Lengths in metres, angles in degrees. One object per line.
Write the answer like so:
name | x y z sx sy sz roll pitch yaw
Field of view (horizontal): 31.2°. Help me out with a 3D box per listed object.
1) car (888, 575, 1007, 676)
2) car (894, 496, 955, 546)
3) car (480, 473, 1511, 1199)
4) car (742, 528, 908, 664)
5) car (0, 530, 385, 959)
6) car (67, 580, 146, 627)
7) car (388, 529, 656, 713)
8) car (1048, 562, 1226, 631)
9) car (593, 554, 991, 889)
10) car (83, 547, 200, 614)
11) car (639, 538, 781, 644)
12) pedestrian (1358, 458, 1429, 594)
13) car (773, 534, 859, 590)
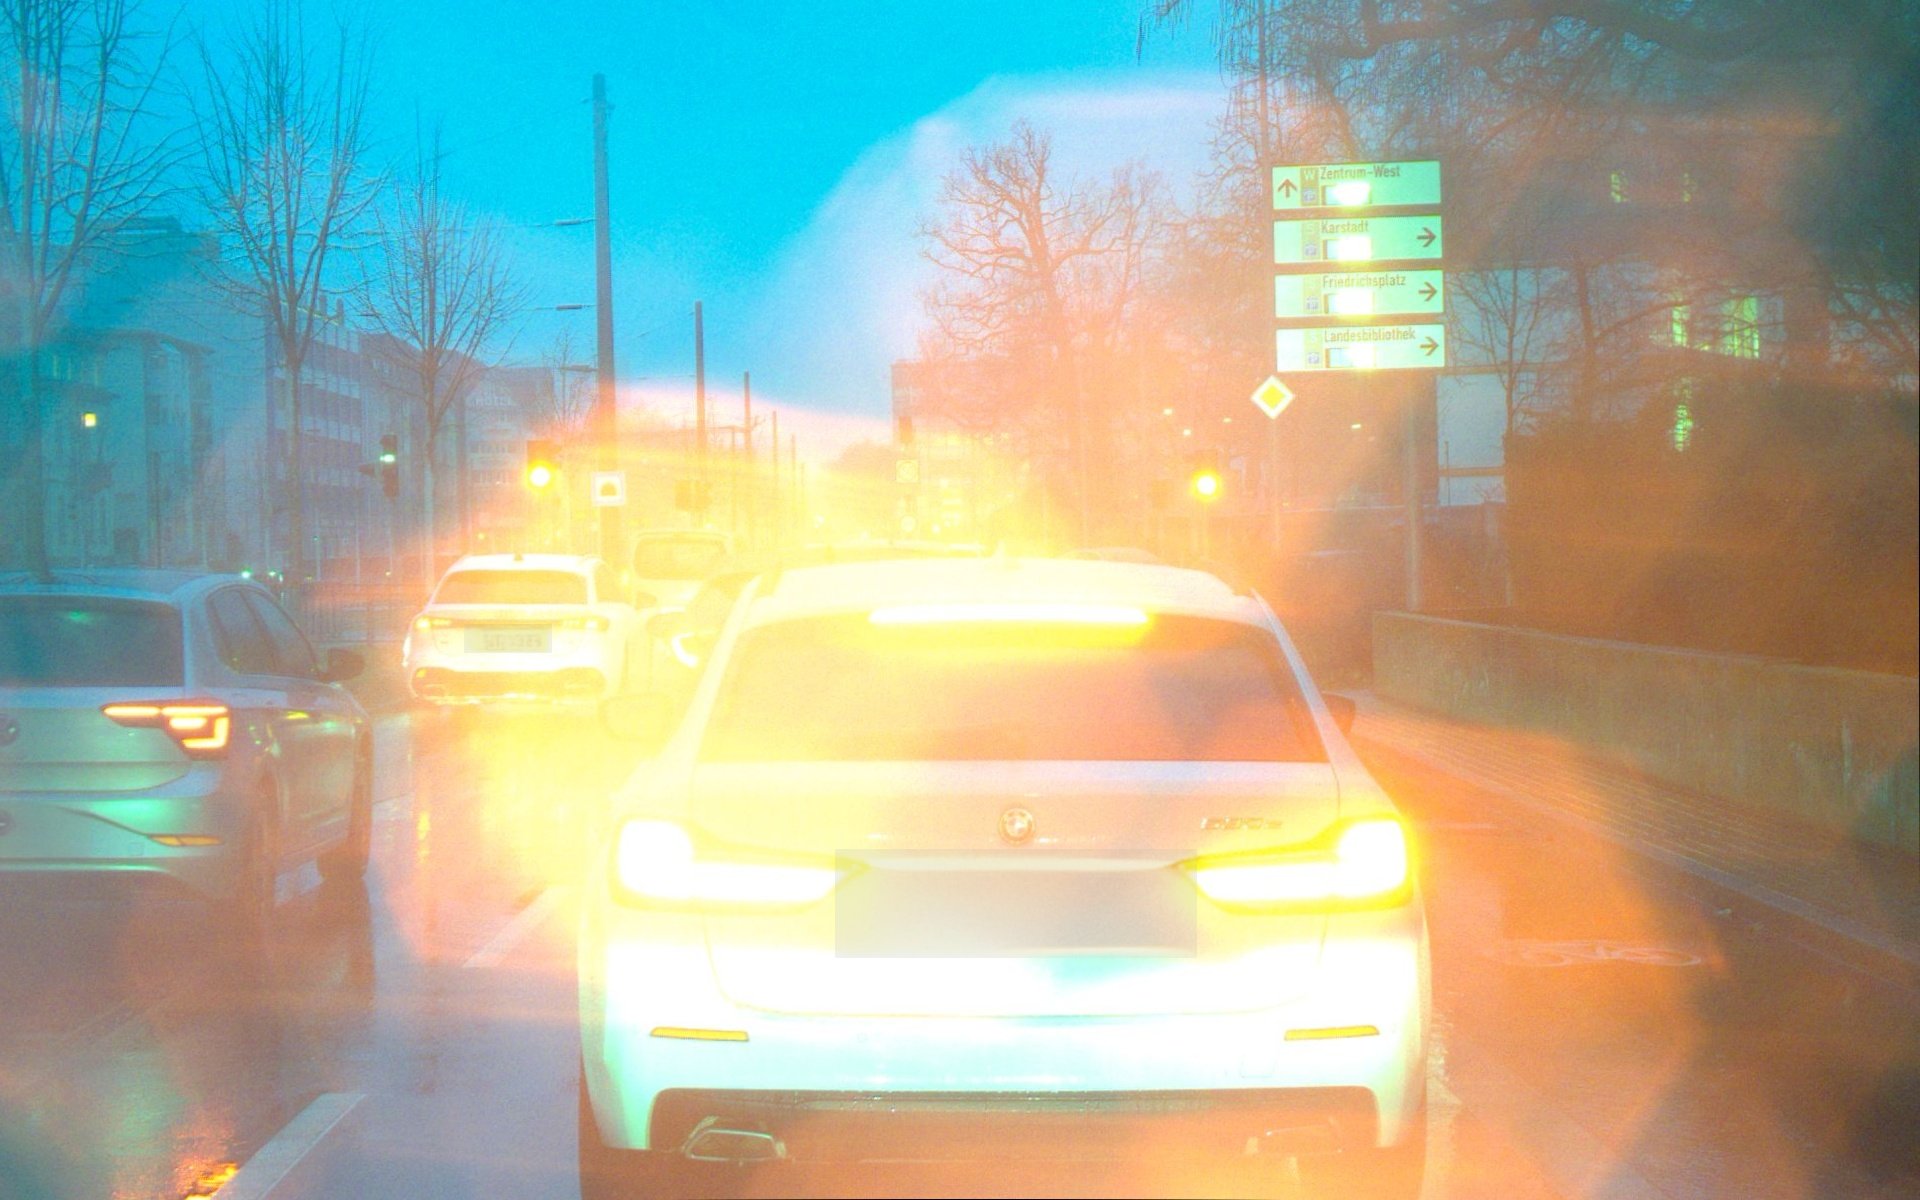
car | -0.200 0.362 52.930 1.737 1.415 3.703 -1 1 -1
car | -1.064 -2.337 101.790 1.737 1.415 4.146 -1 1 -1
car | 0.042 0.515 8.775 1.862 1.550 4.938 -1 1 -1
car | -1.477 -0.077 38.738 1.737 1.415 3.703 -1 1 -1
car | -3.499 0.478 14.233 1.693 1.528 4.001 0 1 -2
car | -24.568 0.080 99.030 1.690 1.273 4.149 -1 1 -7
car | -3.784 0.126 30.404 1.799 1.461 4.586 -1 1 -1
car | 3.783 -0.076 73.899 1.738 1.415 3.701 -2 1 -40
car | -0.792 0.533 17.730 1.800 1.505 3.895 -1 1 -1
car | -20.103 -0.492 84.584 1.993 1.597 4.000 1 1 -2
car | -3.549 -0.160 49.424 1.737 1.415 4.394 -1 1 -1
pedestrian | 6.489 -1.109 51.531 0.959 2.007 1.007 -1 1 4
car | -3.432 -0.917 82.313 1.930 1.284 4.000 1 1 -1
